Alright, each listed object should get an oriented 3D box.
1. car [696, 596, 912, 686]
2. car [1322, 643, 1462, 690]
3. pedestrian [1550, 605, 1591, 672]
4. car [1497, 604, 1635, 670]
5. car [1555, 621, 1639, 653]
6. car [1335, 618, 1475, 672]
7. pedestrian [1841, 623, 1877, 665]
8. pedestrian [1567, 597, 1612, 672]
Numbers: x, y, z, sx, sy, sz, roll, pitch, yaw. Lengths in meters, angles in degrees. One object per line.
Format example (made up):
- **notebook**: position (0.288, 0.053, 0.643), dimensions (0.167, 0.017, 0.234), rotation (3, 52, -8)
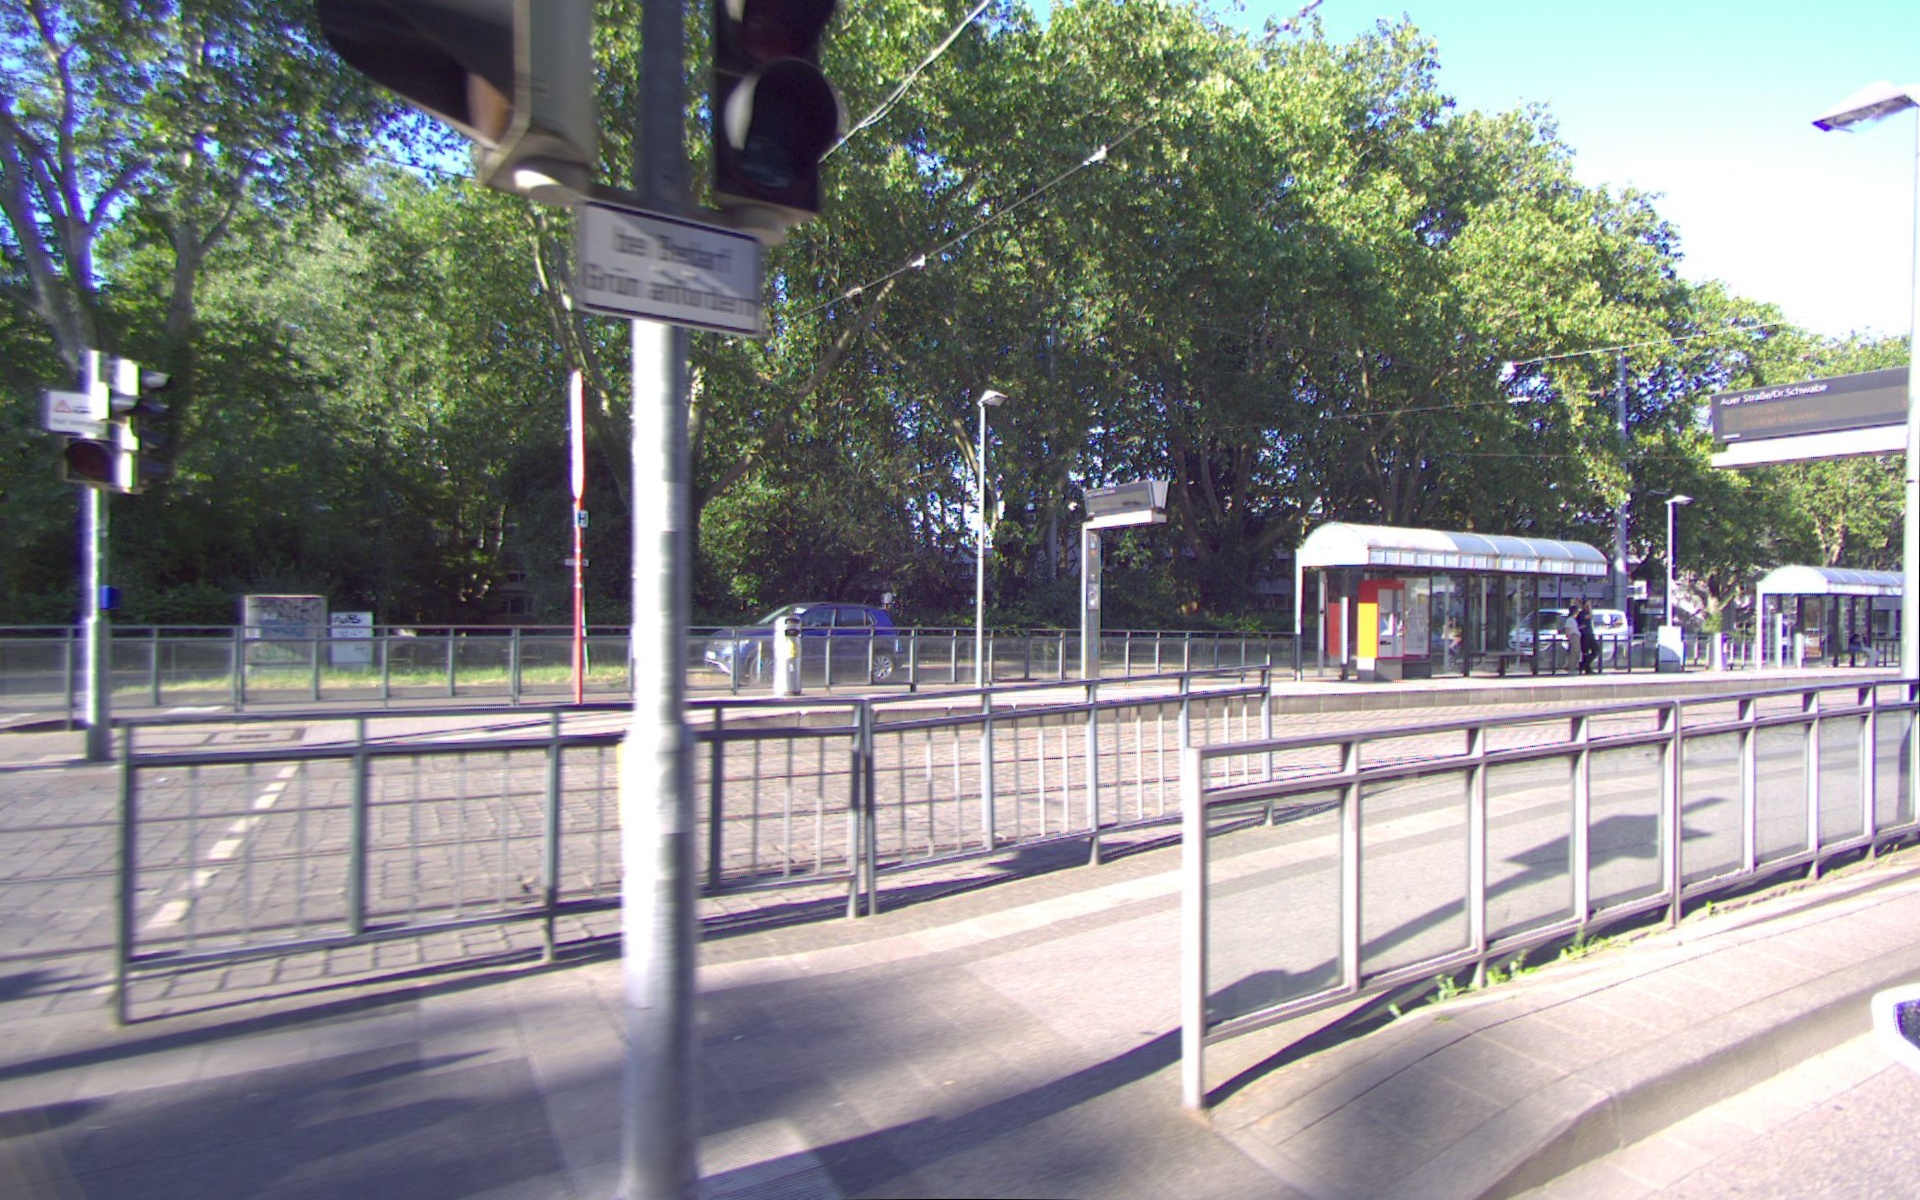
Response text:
- **car**: position (-3.157, 0.857, 20.552), dimensions (3.931, 1.673, 1.891), rotation (2, -3, -34)
- **car**: position (12.939, 1.966, 30.000), dimensions (4.268, 1.309, 1.760), rotation (2, -3, -32)
- **pedestrian**: position (14.823, 0.932, 24.397), dimensions (0.619, 1.564, 0.590), rotation (2, 0, -30)
- **car**: position (20.934, 1.308, 34.675), dimensions (5.034, 2.152, 2.056), rotation (2, -3, -32)
- **car**: position (51.423, 2.990, 81.120), dimensions (5.617, 2.367, 2.155), rotation (1, 0, -7)
- **car**: position (13.425, 1.370, 30.267), dimensions (4.294, 1.530, 1.785), rotation (2, -3, -32)
- **pedestrian**: position (29.078, 1.424, 32.488), dimensions (0.748, 1.342, 0.666), rotation (1, -3, -32)
- **pedestrian**: position (15.492, 0.844, 24.738), dimensions (0.642, 1.795, 0.645), rotation (2, 0, -28)
